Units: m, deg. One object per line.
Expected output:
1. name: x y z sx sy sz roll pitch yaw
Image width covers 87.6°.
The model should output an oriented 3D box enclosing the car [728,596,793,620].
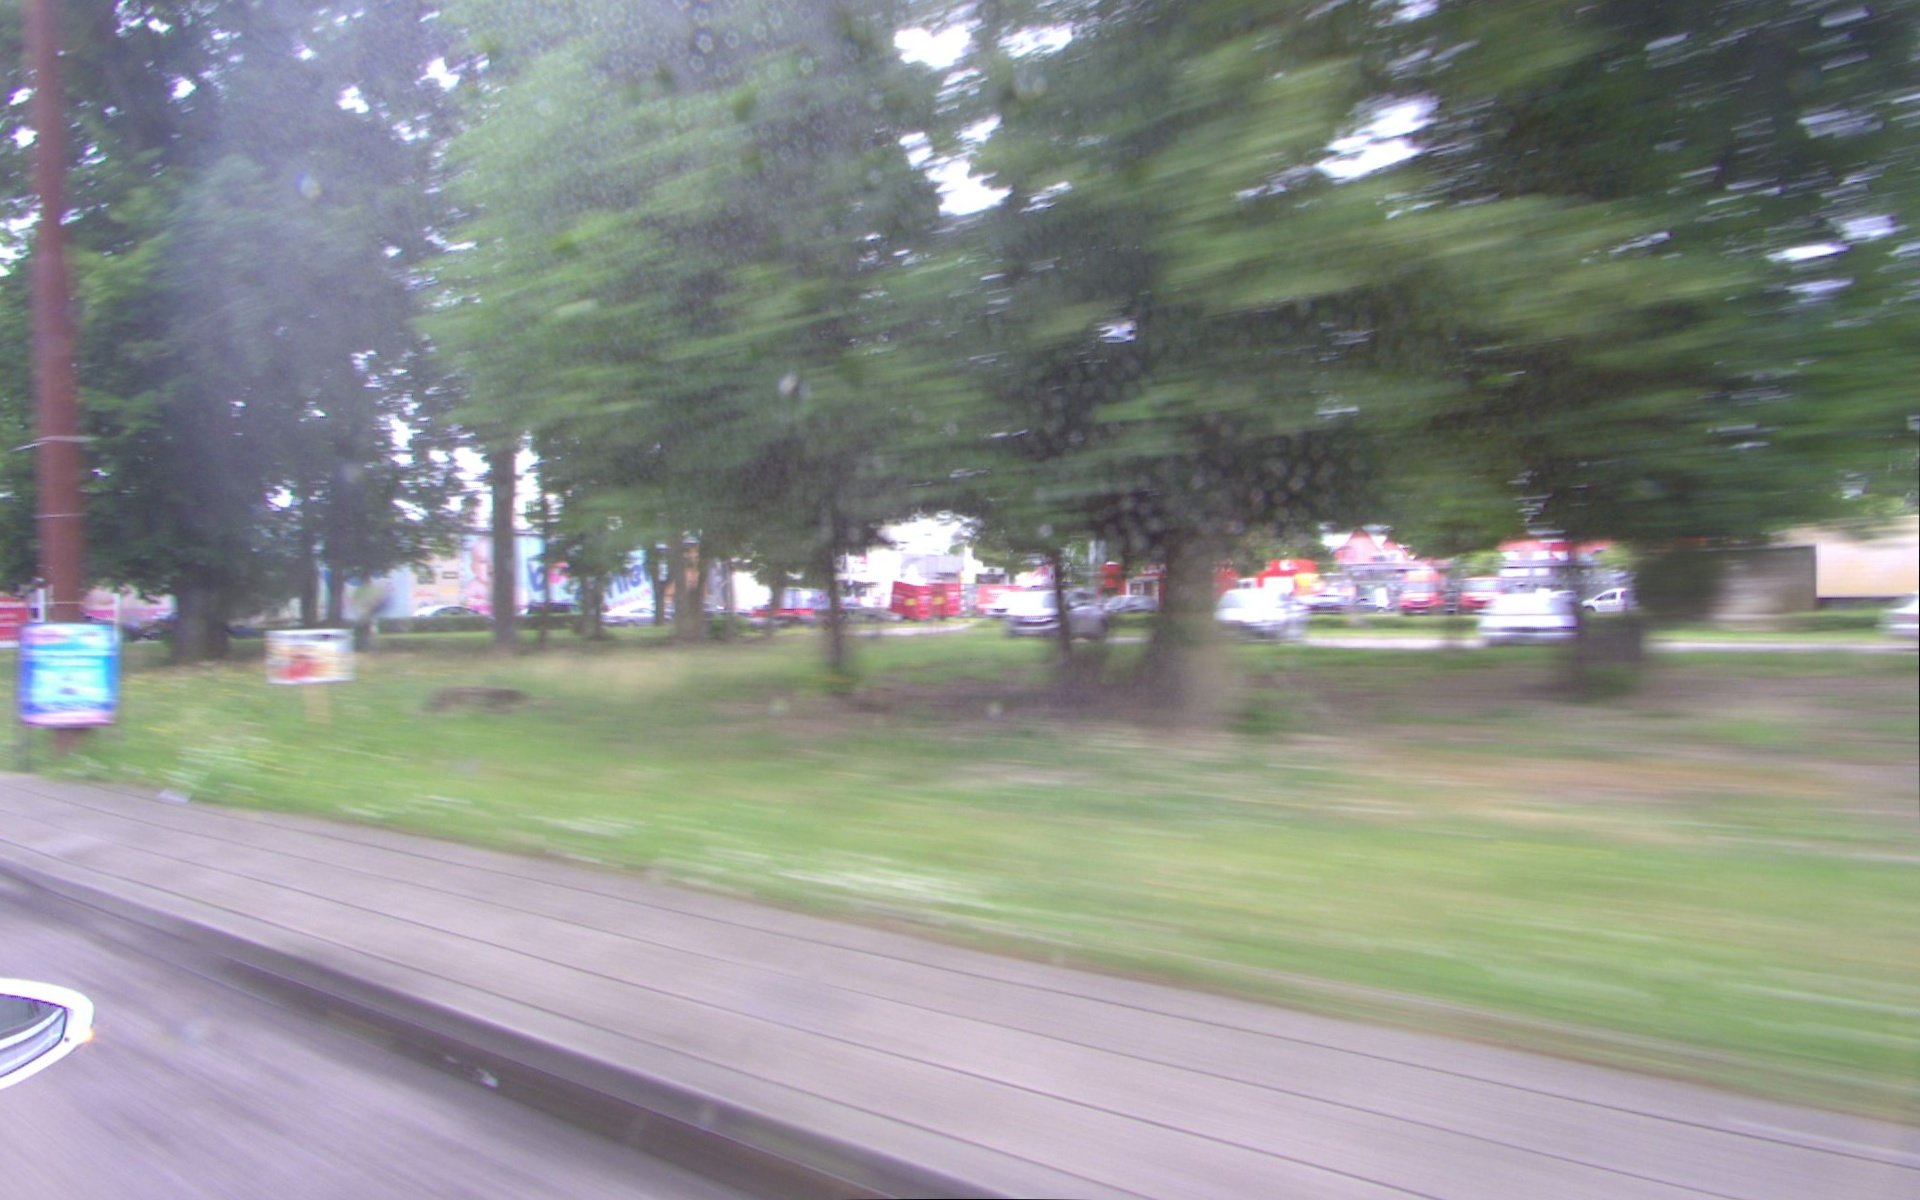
1. car: -14.431 0.568 72.634 2.043 1.593 4.544 0 1 31

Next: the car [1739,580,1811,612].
1. car: 45.581 -0.245 56.092 2.121 1.699 4.550 0 1 26

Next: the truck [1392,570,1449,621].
1. truck: 26.113 -0.286 56.615 2.446 2.670 7.850 0 1 28

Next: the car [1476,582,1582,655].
1. car: 13.136 0.455 23.332 1.901 1.516 4.443 -1 -2 27

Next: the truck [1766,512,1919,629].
1. truck: 31.554 -0.903 31.643 9.115 3.610 2.935 -1 -1 31

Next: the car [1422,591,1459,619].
1. car: 31.335 0.295 65.271 2.121 1.699 4.550 0 1 26

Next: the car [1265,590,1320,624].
1. car: 17.586 0.345 52.881 2.121 1.699 4.549 0 1 27

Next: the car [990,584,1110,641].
1. car: 2.700 0.392 29.026 1.929 1.516 4.530 -1 -2 27

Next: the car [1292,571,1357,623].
1. car: 15.423 -0.144 42.196 2.121 2.079 4.550 0 1 26

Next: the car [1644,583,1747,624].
1. car: 32.333 0.125 44.189 2.116 1.699 4.562 -1 1 15

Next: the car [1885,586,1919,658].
1. car: 24.869 0.515 23.432 4.442 1.692 1.989 -1 -1 33

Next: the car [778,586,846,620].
1. car: -11.433 0.182 77.959 2.043 2.571 5.732 0 1 31

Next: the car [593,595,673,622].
1. car: -20.327 0.515 62.457 2.043 1.593 4.544 0 1 31

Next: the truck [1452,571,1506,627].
1. truck: 28.423 -0.091 54.788 2.446 2.854 7.850 0 1 28

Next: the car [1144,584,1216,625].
1. car: 9.817 0.159 44.491 2.121 1.699 4.550 0 1 26

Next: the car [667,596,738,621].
1. car: -17.294 0.557 67.437 2.043 1.593 4.544 0 1 31

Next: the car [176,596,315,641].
1. car: -31.258 0.748 43.960 2.043 1.814 4.545 1 1 31

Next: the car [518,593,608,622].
1. car: -22.975 0.414 58.131 2.043 1.593 4.544 0 1 31

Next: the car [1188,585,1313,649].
1. car: 7.725 0.469 26.287 2.138 1.516 4.670 -1 -2 30

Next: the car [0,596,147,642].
1. car: -34.222 0.683 38.245 1.963 1.593 4.544 0 1 31

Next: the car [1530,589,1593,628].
1. car: 28.122 0.361 46.938 2.121 1.699 4.550 0 1 26

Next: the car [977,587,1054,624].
1. car: 2.752 0.224 48.733 2.121 1.699 4.550 0 1 26

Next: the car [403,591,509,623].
1. car: -26.352 0.351 52.494 2.043 1.593 4.544 0 1 31
